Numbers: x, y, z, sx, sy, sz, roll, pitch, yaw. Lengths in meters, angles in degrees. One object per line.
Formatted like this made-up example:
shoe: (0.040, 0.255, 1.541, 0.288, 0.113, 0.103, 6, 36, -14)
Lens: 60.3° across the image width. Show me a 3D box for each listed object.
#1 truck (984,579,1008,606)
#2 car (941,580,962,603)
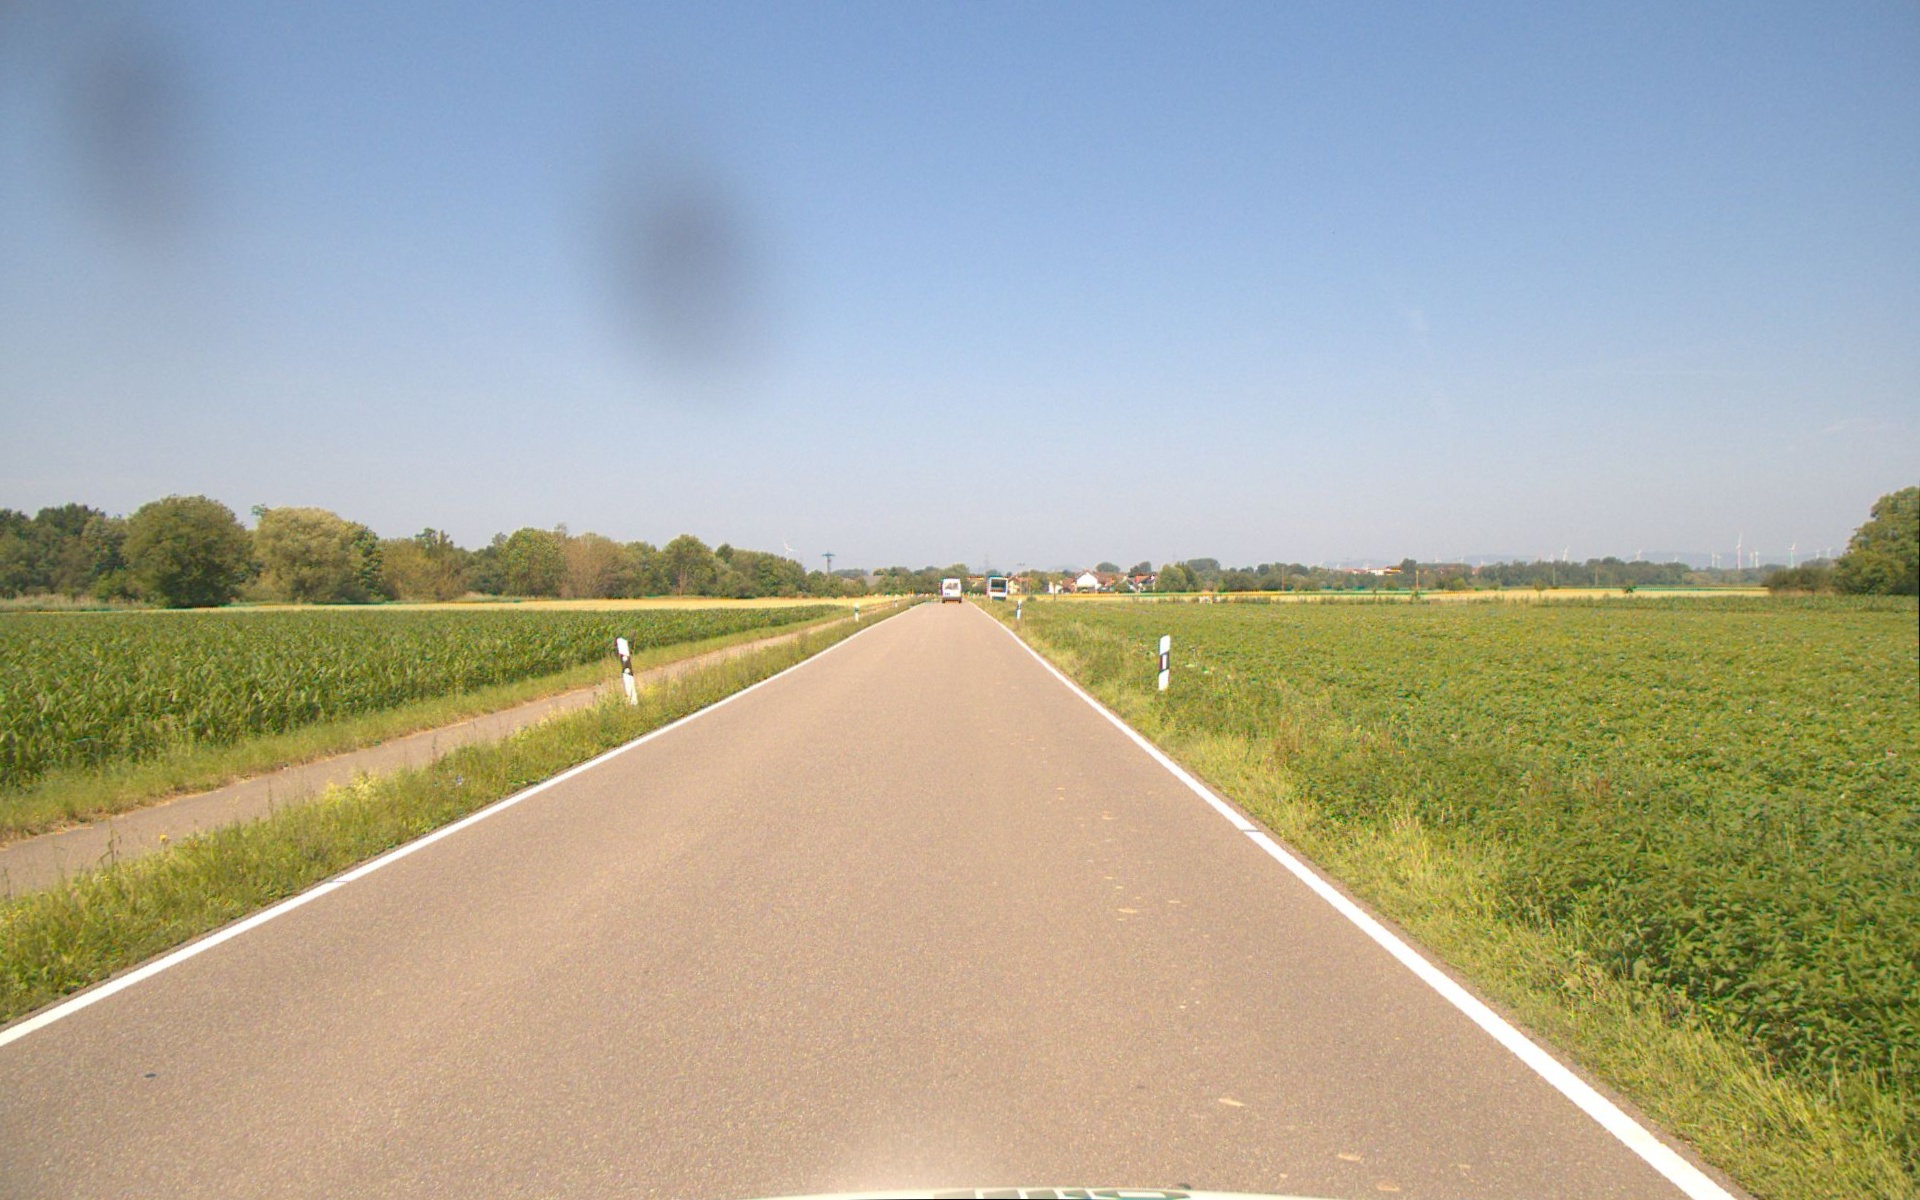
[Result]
truck: (4.163, -0.873, 192.557, 2.289, 2.994, 7.005, 3, 0, -2)
car: (-0.918, -0.913, 173.311, 2.064, 2.344, 5.495, 1, 0, 0)
